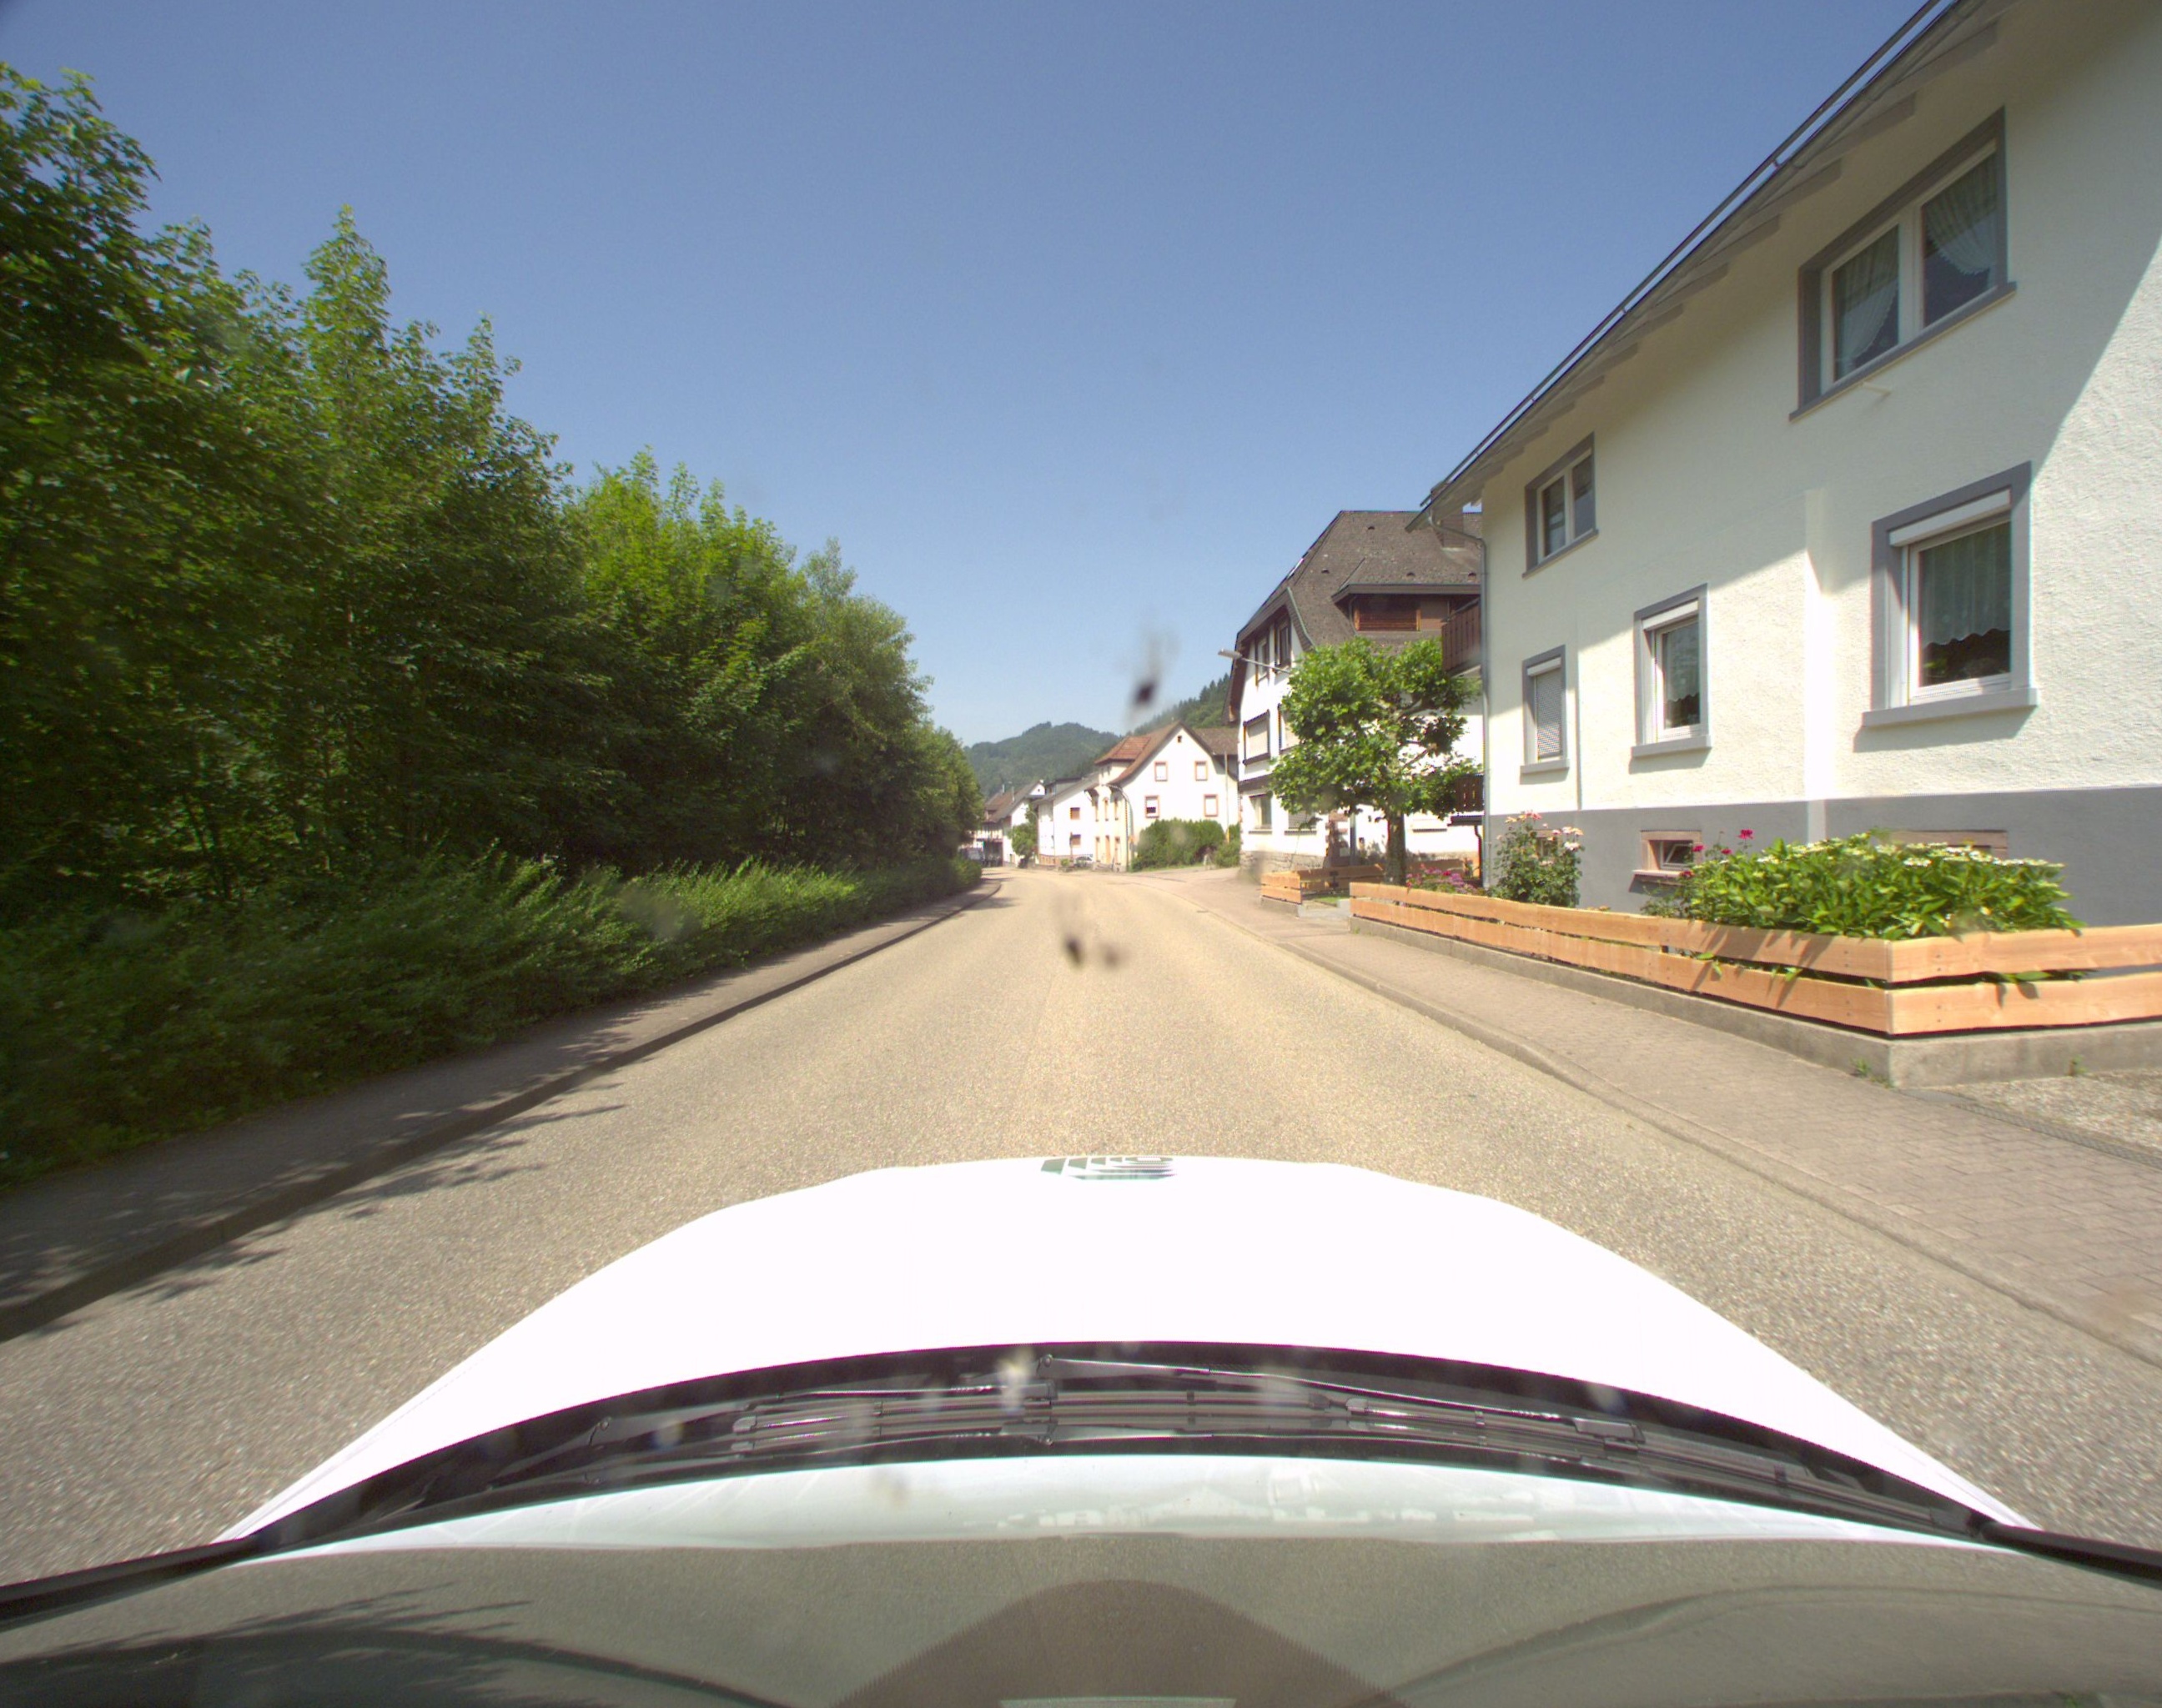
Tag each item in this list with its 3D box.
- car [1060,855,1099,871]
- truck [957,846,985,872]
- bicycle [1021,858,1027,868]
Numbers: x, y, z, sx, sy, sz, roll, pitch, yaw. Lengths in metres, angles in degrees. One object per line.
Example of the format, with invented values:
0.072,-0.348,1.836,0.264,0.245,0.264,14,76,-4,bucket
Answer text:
-0.147,0.962,84.236,3.727,1.427,1.620,-3,0,33,car
-18.809,0.928,138.791,3.370,3.782,8.394,-5,-1,-15,truck
-7.605,1.189,108.441,0.425,1.396,2.268,-5,1,-11,bicycle
